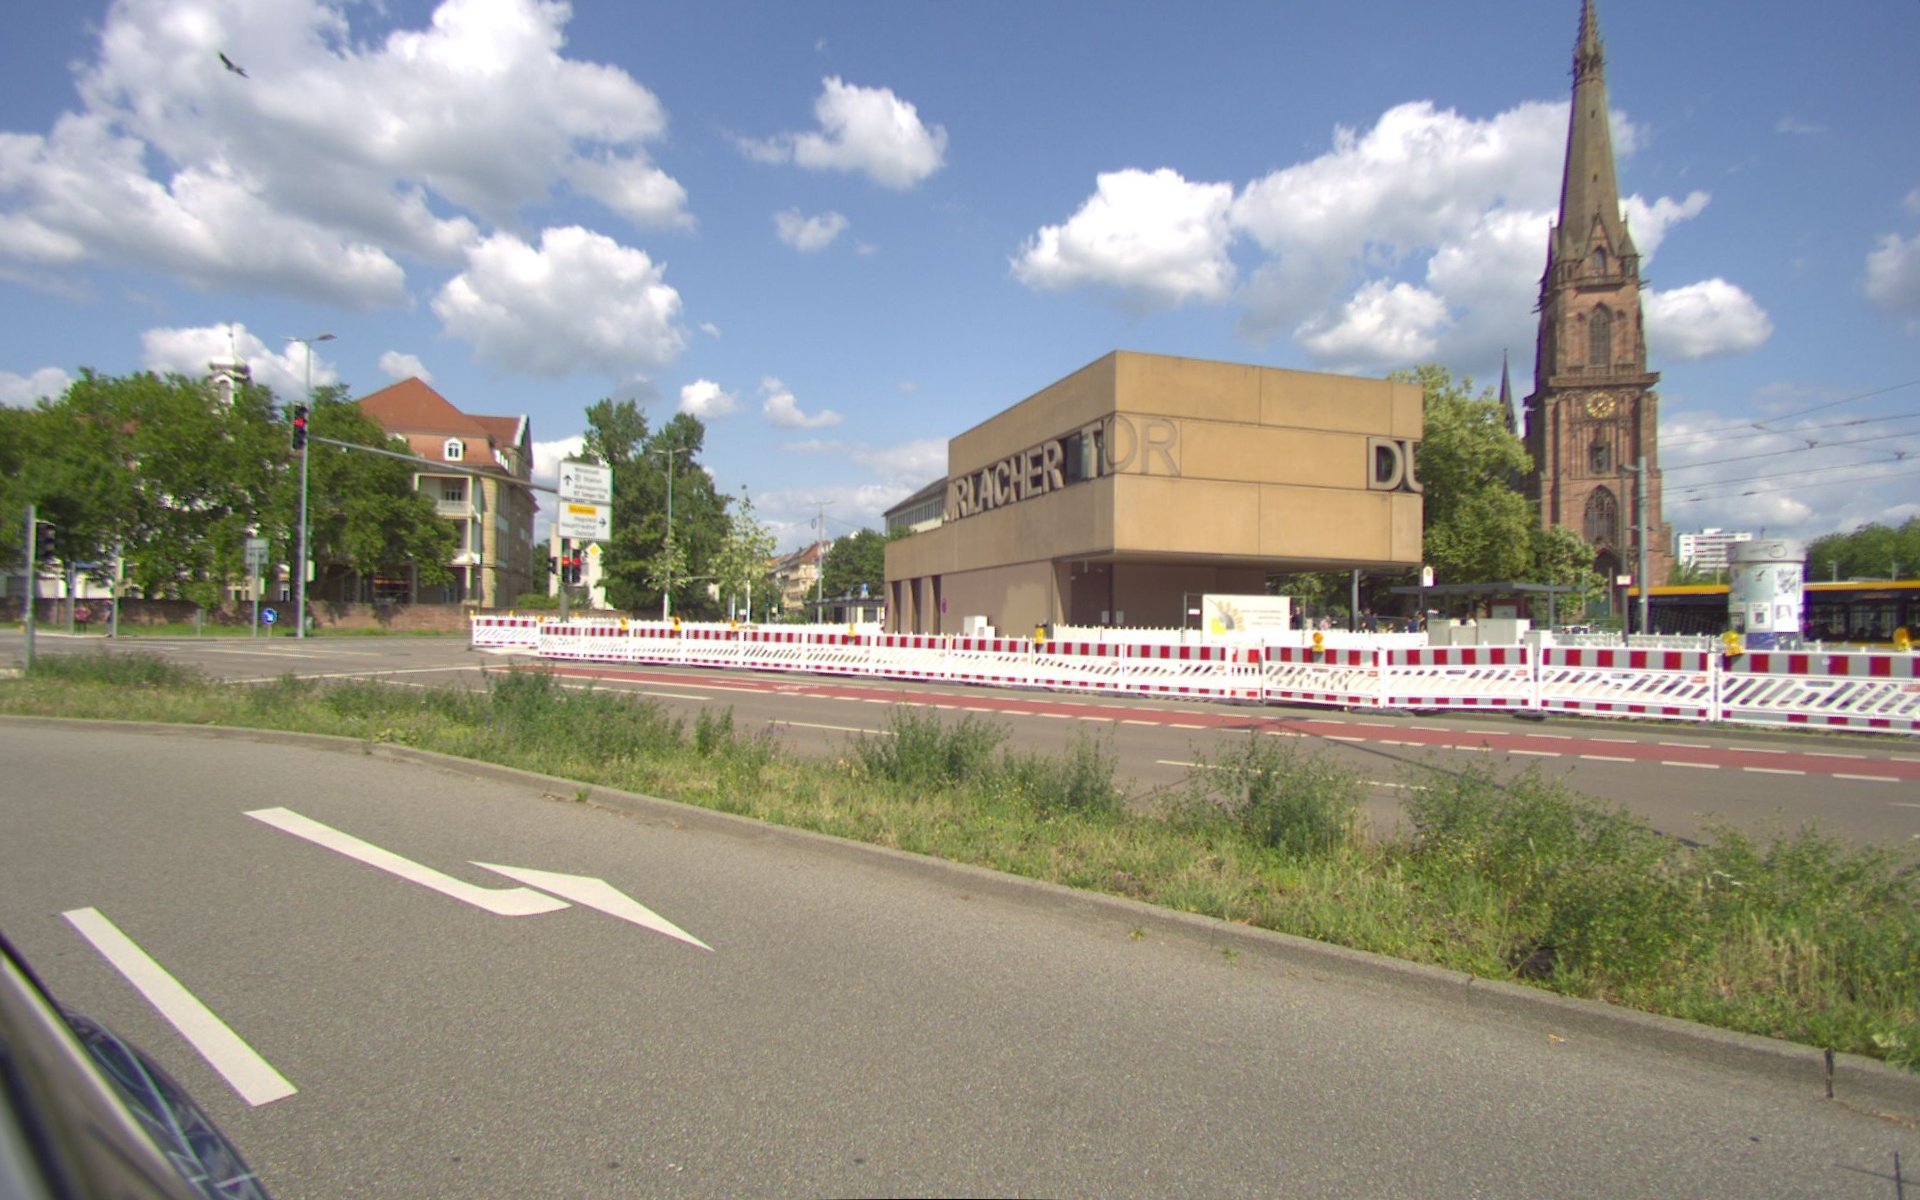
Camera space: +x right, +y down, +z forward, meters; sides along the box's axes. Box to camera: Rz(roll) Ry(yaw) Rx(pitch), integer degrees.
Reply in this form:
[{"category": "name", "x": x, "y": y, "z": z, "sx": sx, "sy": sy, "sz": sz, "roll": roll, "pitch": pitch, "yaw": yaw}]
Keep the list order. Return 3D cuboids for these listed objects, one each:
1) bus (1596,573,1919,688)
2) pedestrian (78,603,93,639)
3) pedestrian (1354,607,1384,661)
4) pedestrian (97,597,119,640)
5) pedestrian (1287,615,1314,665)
[{"category": "bus", "x": 26.777, "y": 0.928, "z": 31.543, "sx": 2.785, "sy": 3.160, "sz": 12.880, "roll": 1, "pitch": -2, "yaw": -18}, {"category": "pedestrian", "x": -42.509, "y": 1.006, "z": 49.194, "sx": 0.363, "sy": 1.745, "sz": 0.452, "roll": 0, "pitch": 0, "yaw": -18}, {"category": "pedestrian", "x": 12.554, "y": 1.033, "z": 31.084, "sx": 0.720, "sy": 1.642, "sz": 0.561, "roll": 1, "pitch": -1, "yaw": -36}, {"category": "pedestrian", "x": -40.833, "y": 0.877, "z": 48.510, "sx": 0.616, "sy": 2.009, "sz": 0.579, "roll": 0, "pitch": 0, "yaw": 13}, {"category": "pedestrian", "x": 11.463, "y": 1.347, "z": 34.077, "sx": 0.763, "sy": 1.644, "sz": 0.646, "roll": 0, "pitch": -1, "yaw": 30}]
